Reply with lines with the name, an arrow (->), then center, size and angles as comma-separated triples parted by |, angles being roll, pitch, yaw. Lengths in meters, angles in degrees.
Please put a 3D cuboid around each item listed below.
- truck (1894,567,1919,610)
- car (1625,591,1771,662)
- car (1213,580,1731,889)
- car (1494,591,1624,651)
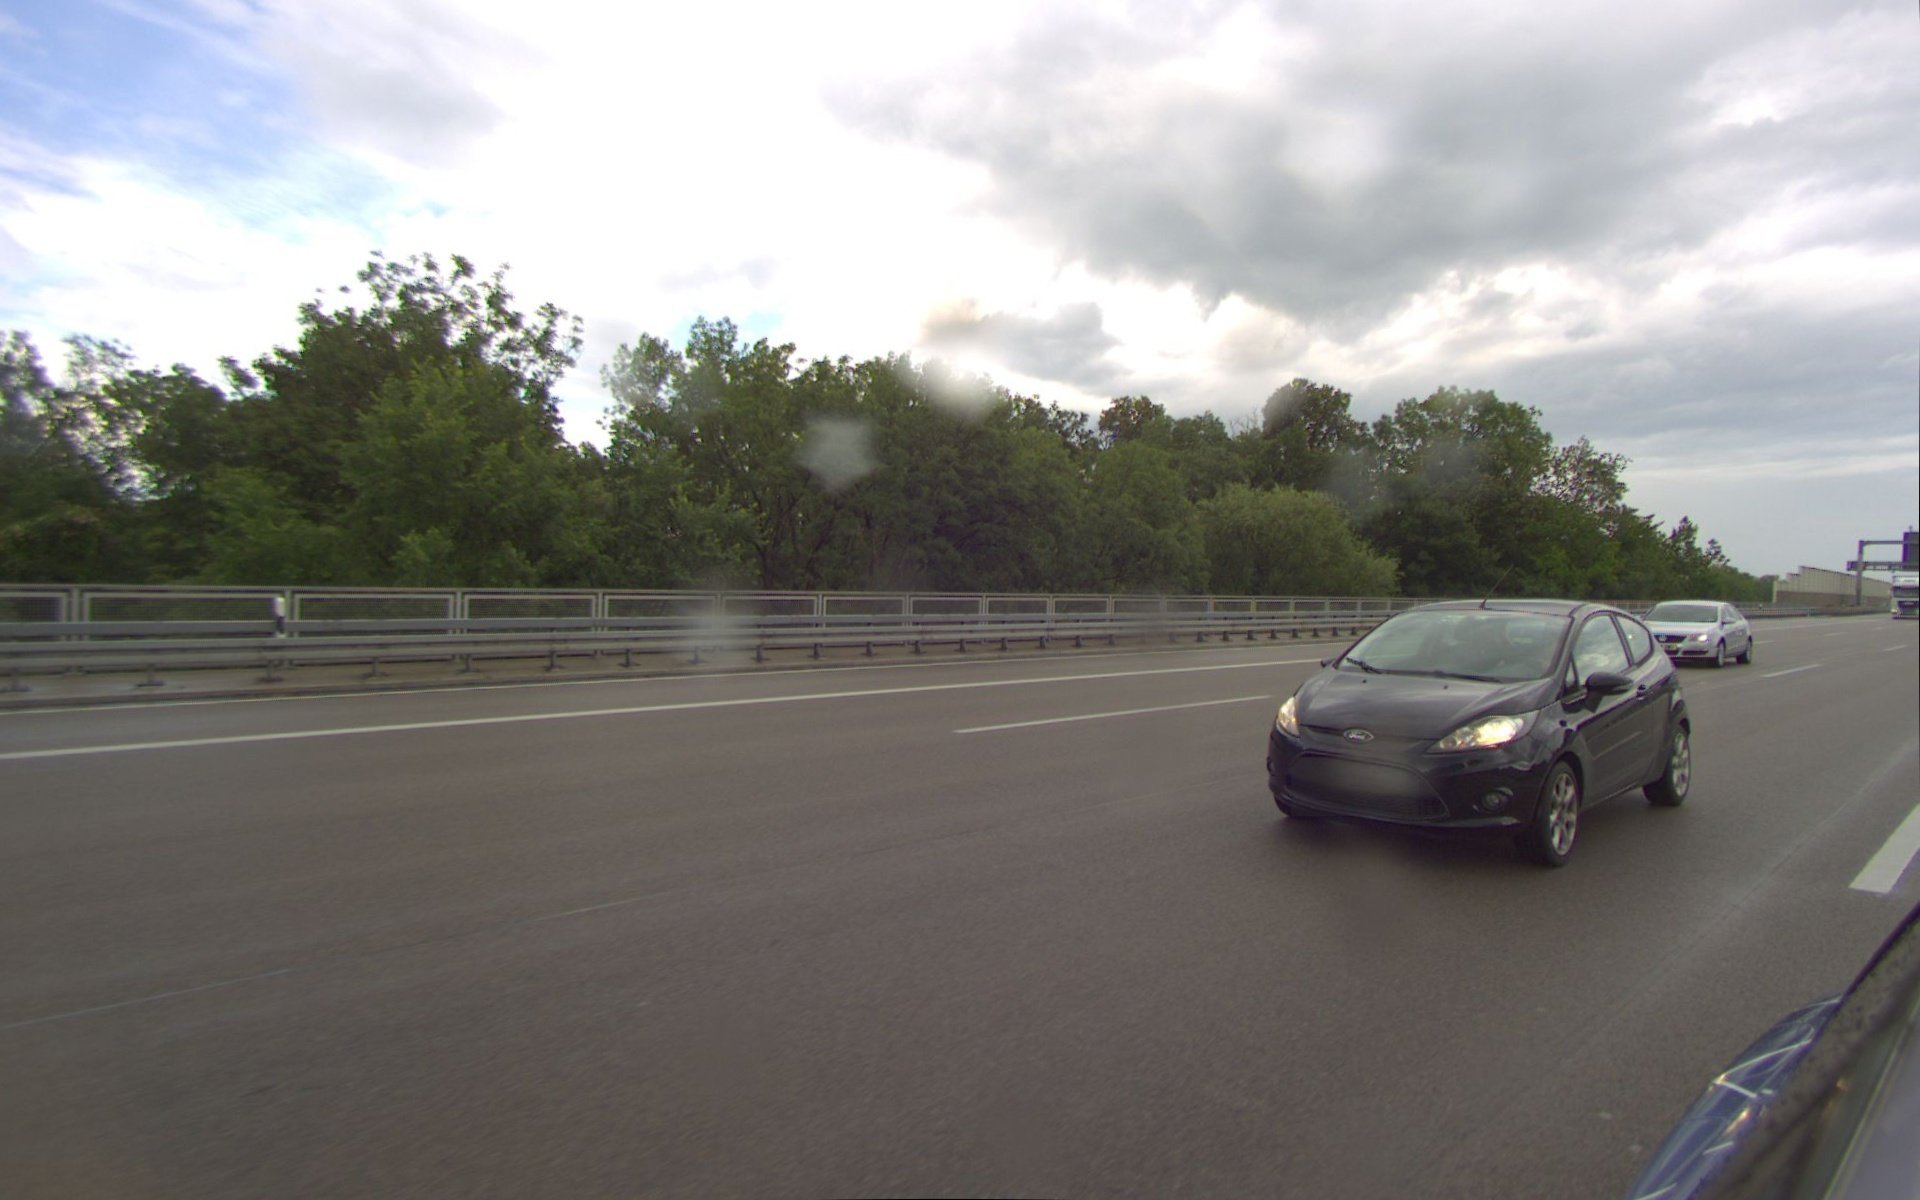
truck -> 93.194, -1.062, 98.088 | 12.111, 3.956, 3.249 | 0, 0, -44
car -> 16.968, 0.560, 23.203 | 4.173, 1.465, 1.896 | 0, 1, -42
car -> 3.683, 0.613, 6.868 | 4.329, 1.458, 1.666 | 0, 1, -42
car -> 16.211, 0.516, 27.289 | 4.509, 1.465, 1.779 | 0, 1, -42
